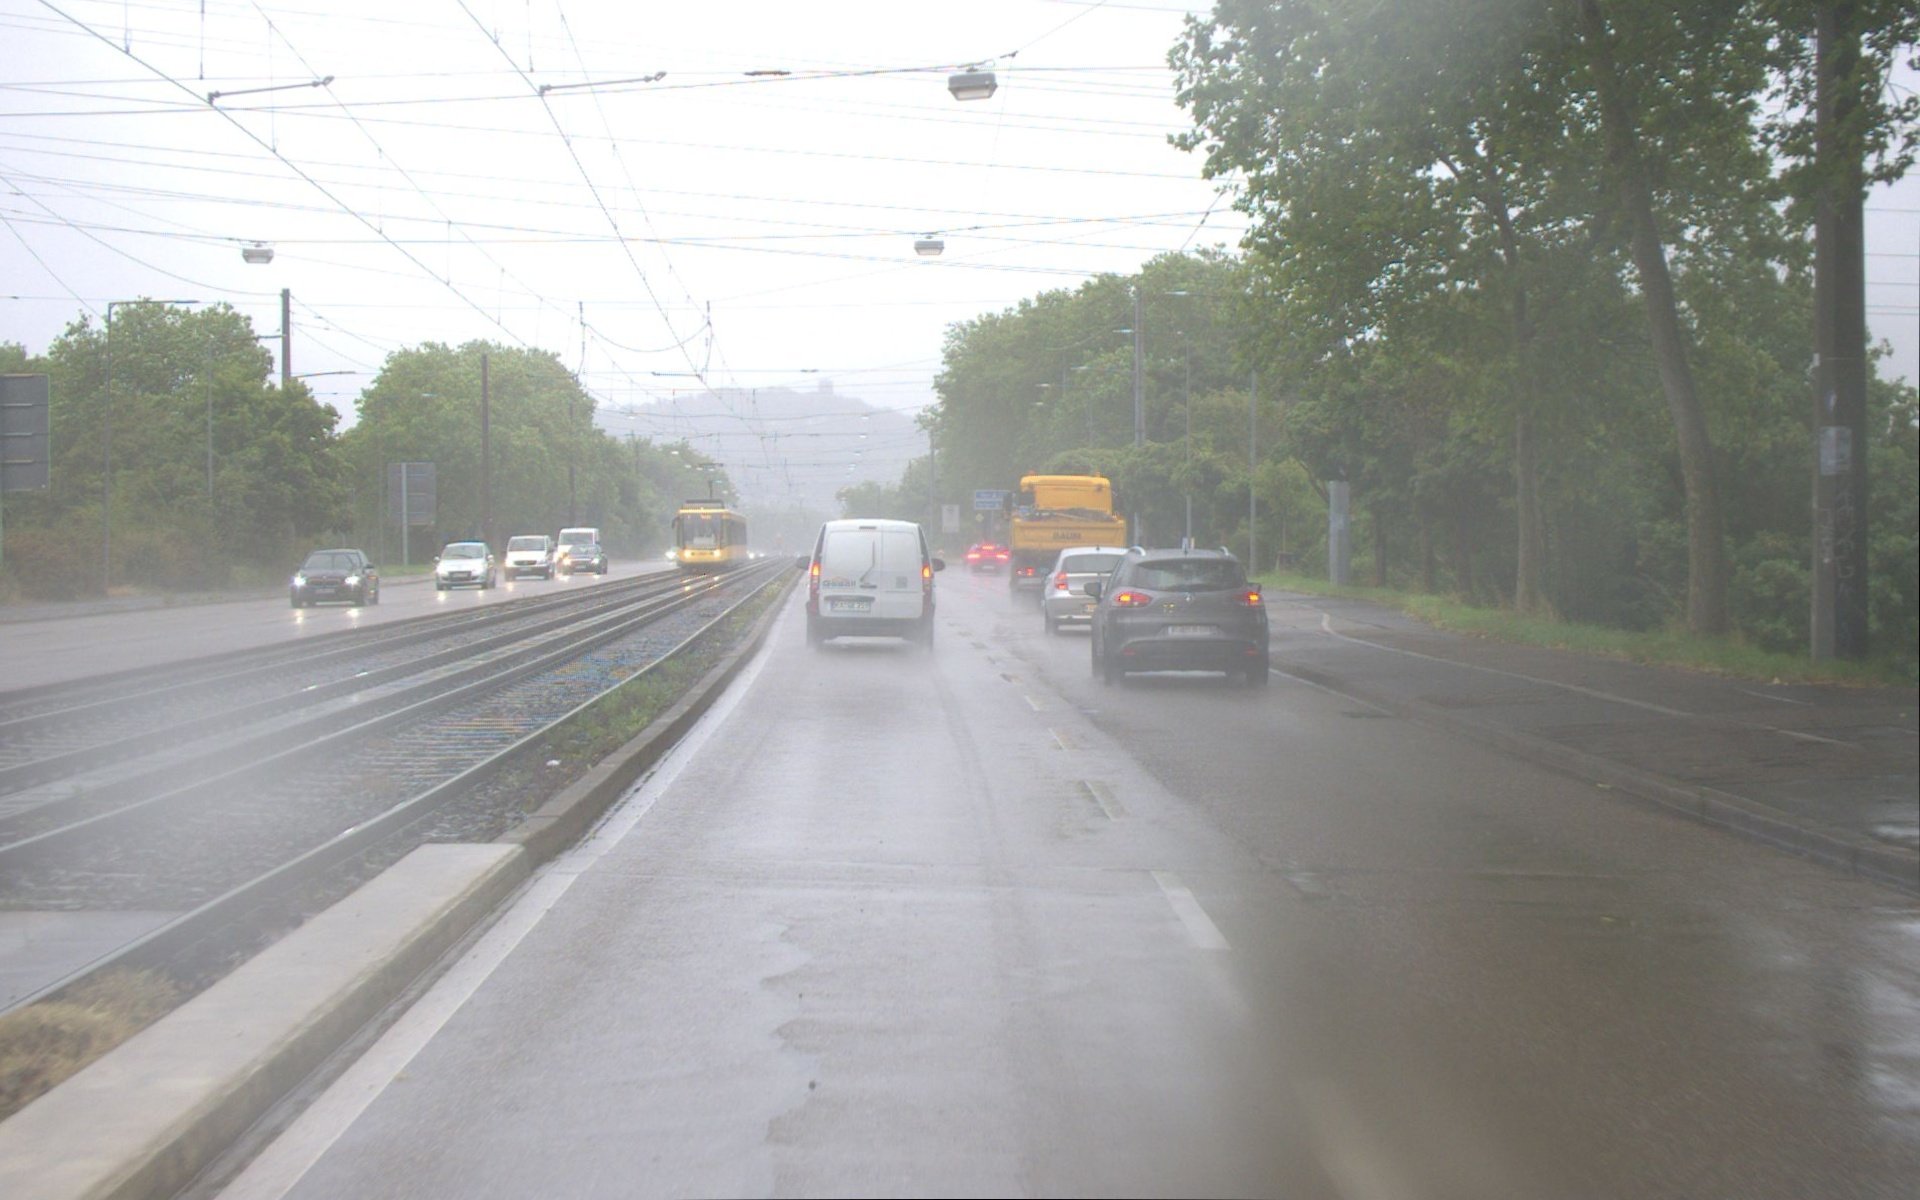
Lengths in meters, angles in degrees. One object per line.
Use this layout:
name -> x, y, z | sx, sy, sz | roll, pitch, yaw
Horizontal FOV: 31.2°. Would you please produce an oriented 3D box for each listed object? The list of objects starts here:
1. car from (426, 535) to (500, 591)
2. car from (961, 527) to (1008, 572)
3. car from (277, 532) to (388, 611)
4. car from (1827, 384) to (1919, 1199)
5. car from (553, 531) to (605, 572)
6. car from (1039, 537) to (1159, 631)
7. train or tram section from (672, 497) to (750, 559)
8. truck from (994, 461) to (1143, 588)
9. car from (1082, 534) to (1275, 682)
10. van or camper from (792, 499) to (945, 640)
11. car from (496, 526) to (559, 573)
car -> -17.588, -1.328, 121.816 | 1.993, 1.897, 4.000 | 1, 1, 1
car -> 1.082, -2.237, 151.066 | 1.993, 1.897, 4.000 | 1, 1, 1
car -> -15.841, -0.745, 86.978 | 1.993, 1.897, 4.000 | 1, 1, 1
car -> 2.599, 0.576, 3.919 | 1.899, 1.711, 4.726 | 1, 2, -1
car -> -18.246, -2.354, 164.775 | 1.993, 1.897, 4.000 | 1, 1, 1
car -> 2.253, -0.286, 56.725 | 1.818, 1.409, 3.779 | 1, 2, 0
train or tram section -> -12.282, -3.611, 170.731 | 2.850, 2.884, 14.008 | -1, 2, 0
truck -> 2.421, -1.753, 78.702 | 3.113, 2.763, 6.330 | 0, 2, -1
car -> 2.285, 0.048, 36.815 | 1.818, 1.409, 3.779 | 1, 2, 0
van or camper -> -1.314, -0.461, 47.936 | 1.993, 1.778, 4.001 | 1, 2, -3
car -> -17.871, -2.106, 142.207 | 1.993, 1.897, 4.000 | 1, 1, 1
